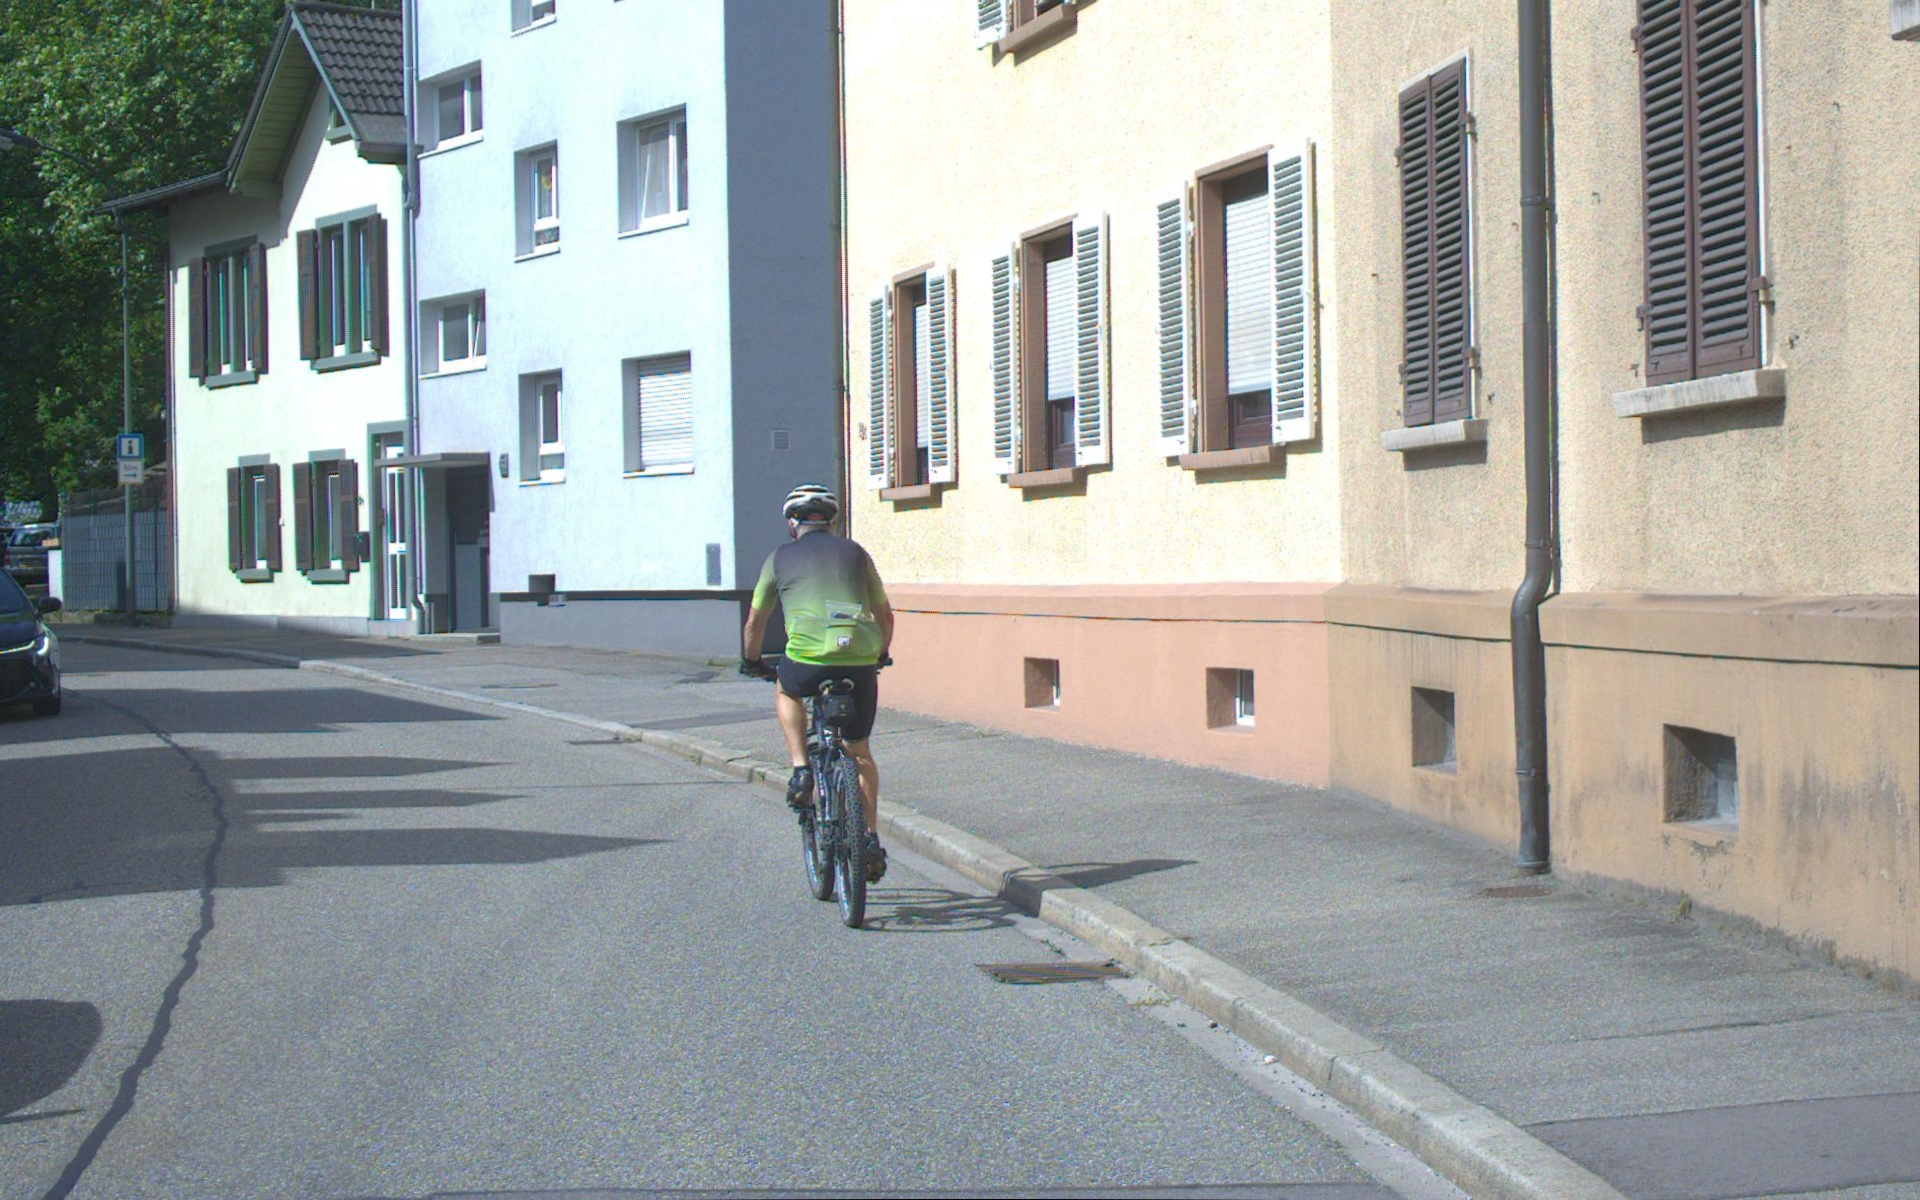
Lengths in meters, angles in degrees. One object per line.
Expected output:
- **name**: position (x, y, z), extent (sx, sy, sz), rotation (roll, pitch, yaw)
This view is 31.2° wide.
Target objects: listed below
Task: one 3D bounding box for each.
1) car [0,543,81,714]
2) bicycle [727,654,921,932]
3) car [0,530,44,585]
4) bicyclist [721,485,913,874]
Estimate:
- **car**: position (-9.132, 0.250, 31.977), extent (1.658, 1.444, 4.260), rotation (-4, 2, -13)
- **bicycle**: position (-0.579, 0.764, 14.132), extent (0.698, 1.032, 1.471), rotation (0, 1, -6)
- **car**: position (-23.236, -1.020, 82.465), extent (1.582, 1.253, 3.858), rotation (-3, 2, -27)
- **bicyclist**: position (-0.591, 0.311, 14.035), extent (0.685, 1.526, 0.716), rotation (-2, 1, -7)
